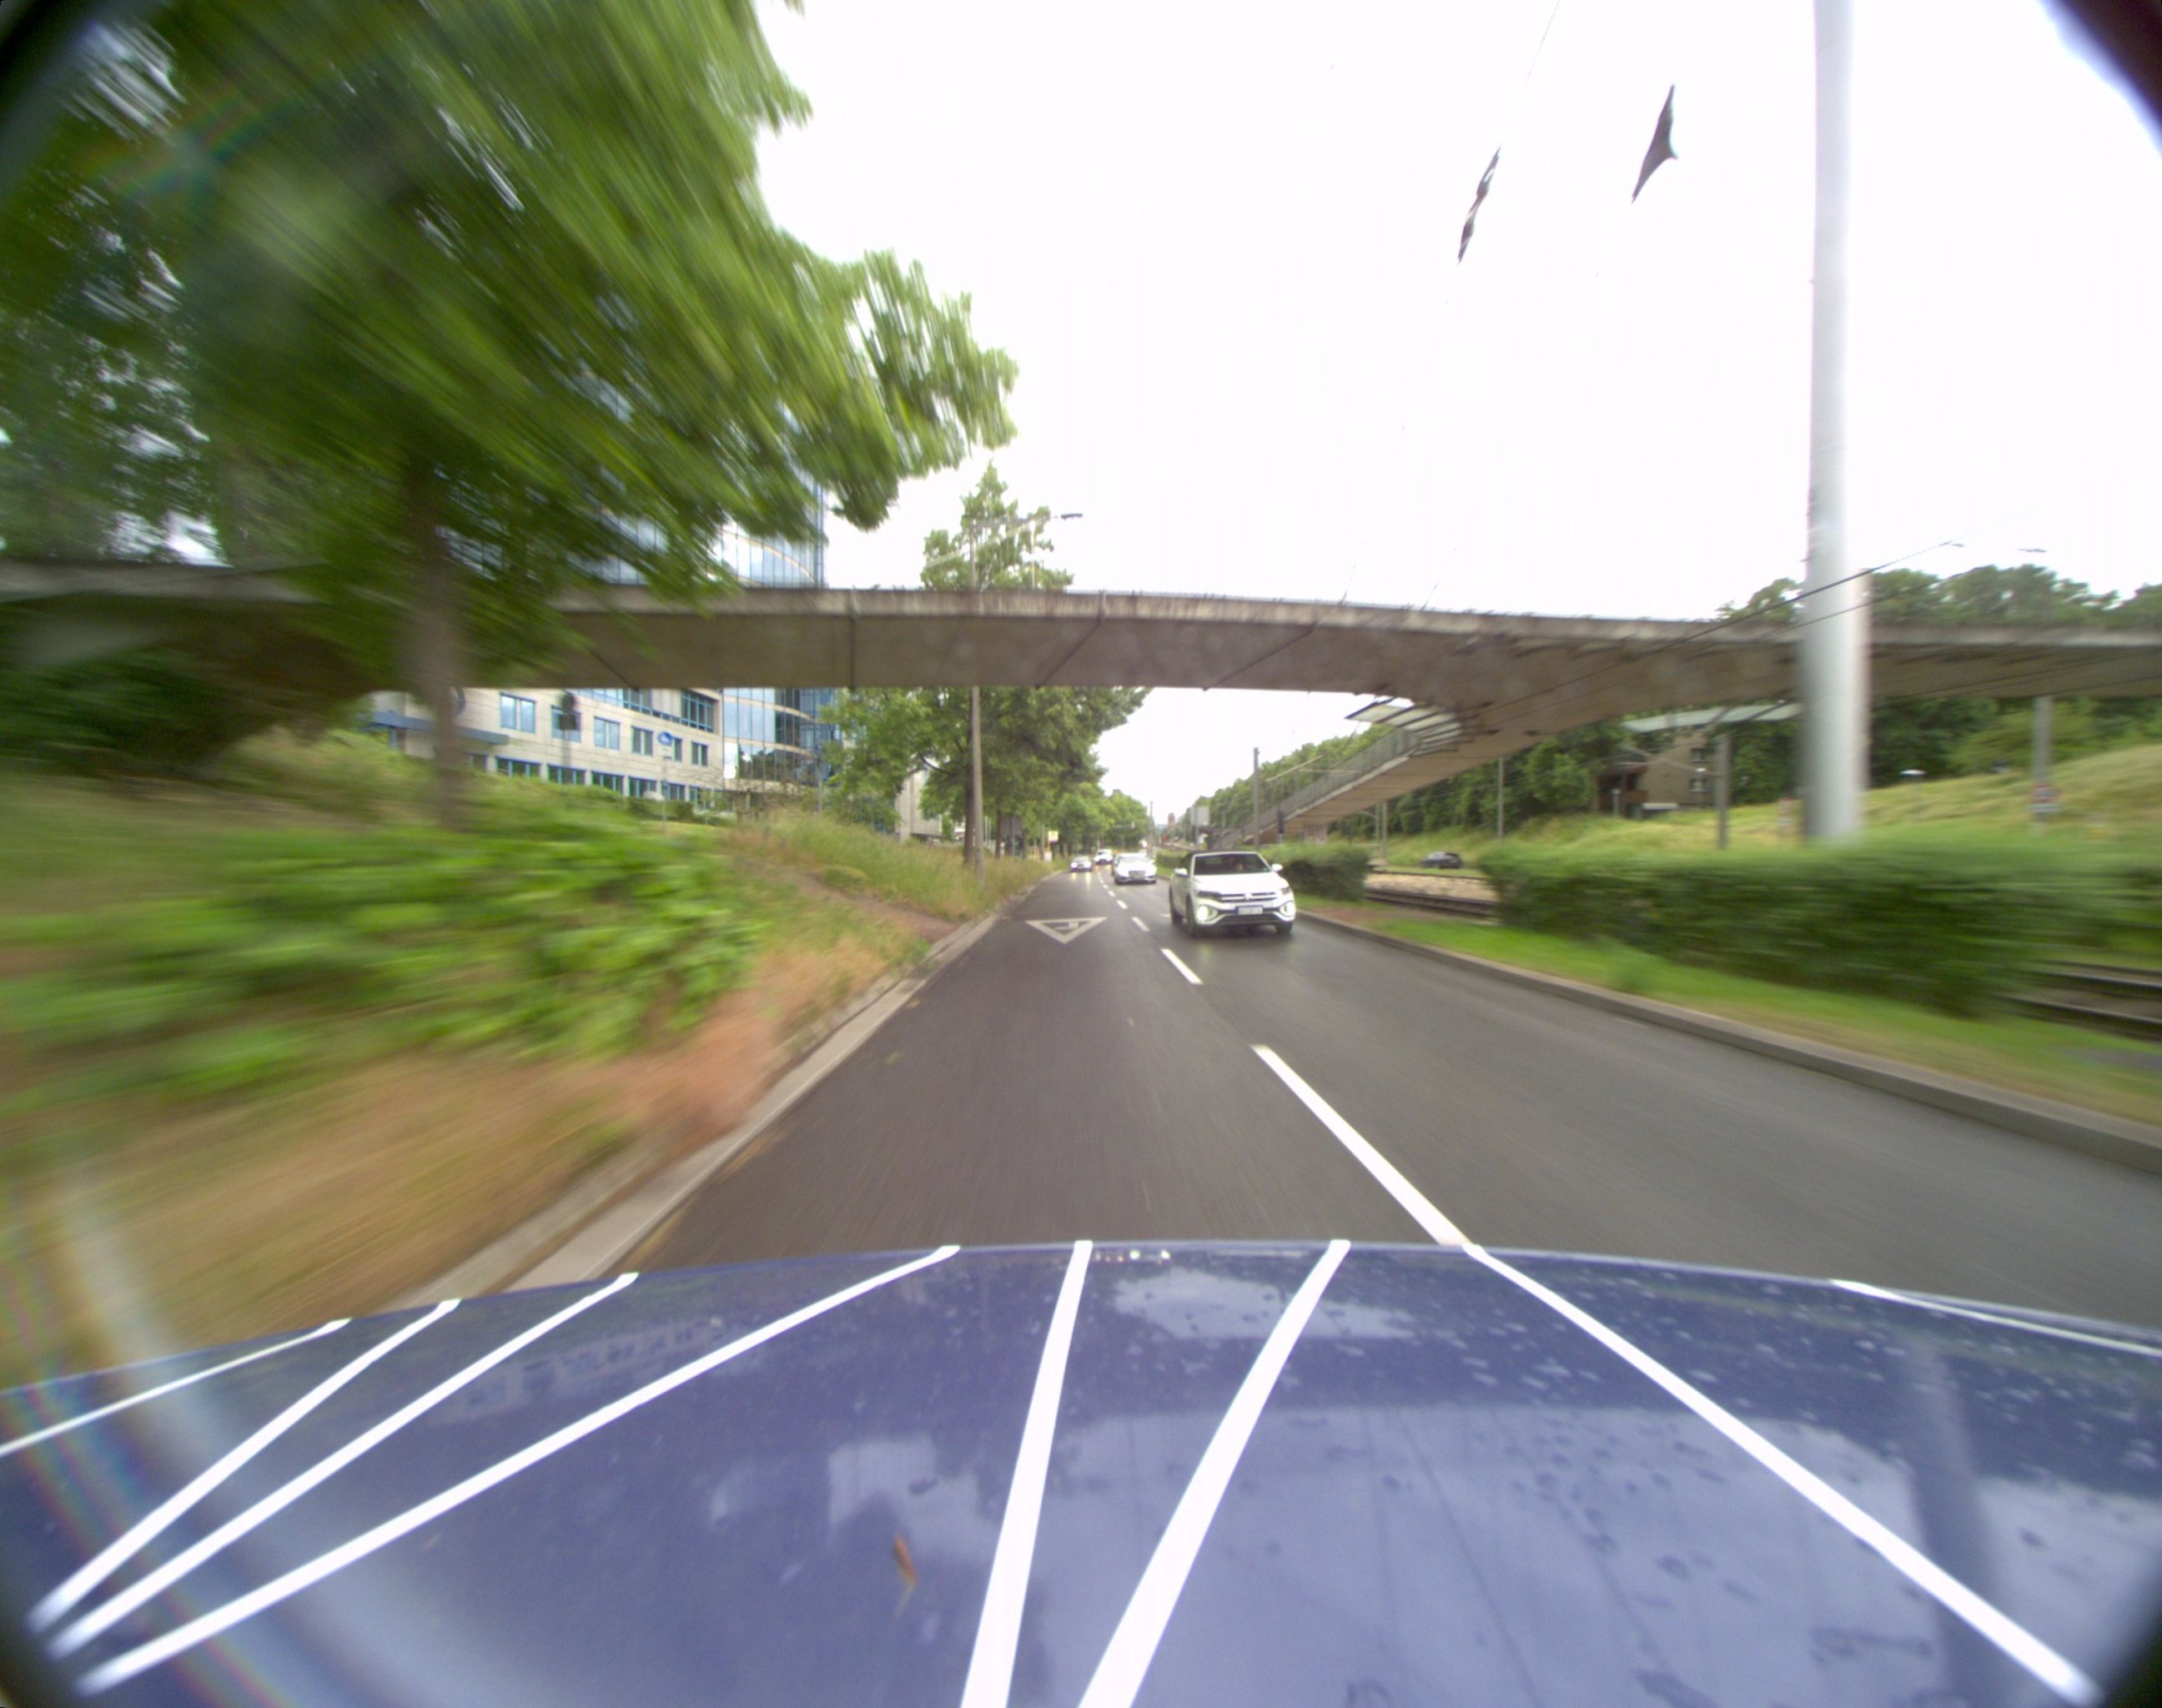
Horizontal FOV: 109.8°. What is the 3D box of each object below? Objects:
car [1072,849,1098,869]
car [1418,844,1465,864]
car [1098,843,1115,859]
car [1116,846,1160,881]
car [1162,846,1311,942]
[{"bbox_3d":[0.390,0.410,65.313,1.960,1.469,4.699,-3,1,3],"label":"car"},{"bbox_3d":[29.562,-0.059,62.410,1.998,1.580,4.206,0,1,2],"label":"car"},{"bbox_3d":[3.257,-0.406,97.673,1.960,1.914,4.845,-3,1,3],"label":"car"},{"bbox_3d":[2.734,0.395,37.004,1.960,1.472,4.699,-3,1,3],"label":"car"},{"bbox_3d":[2.790,0.638,14.758,1.960,1.457,4.699,-3,1,1],"label":"car"}]
